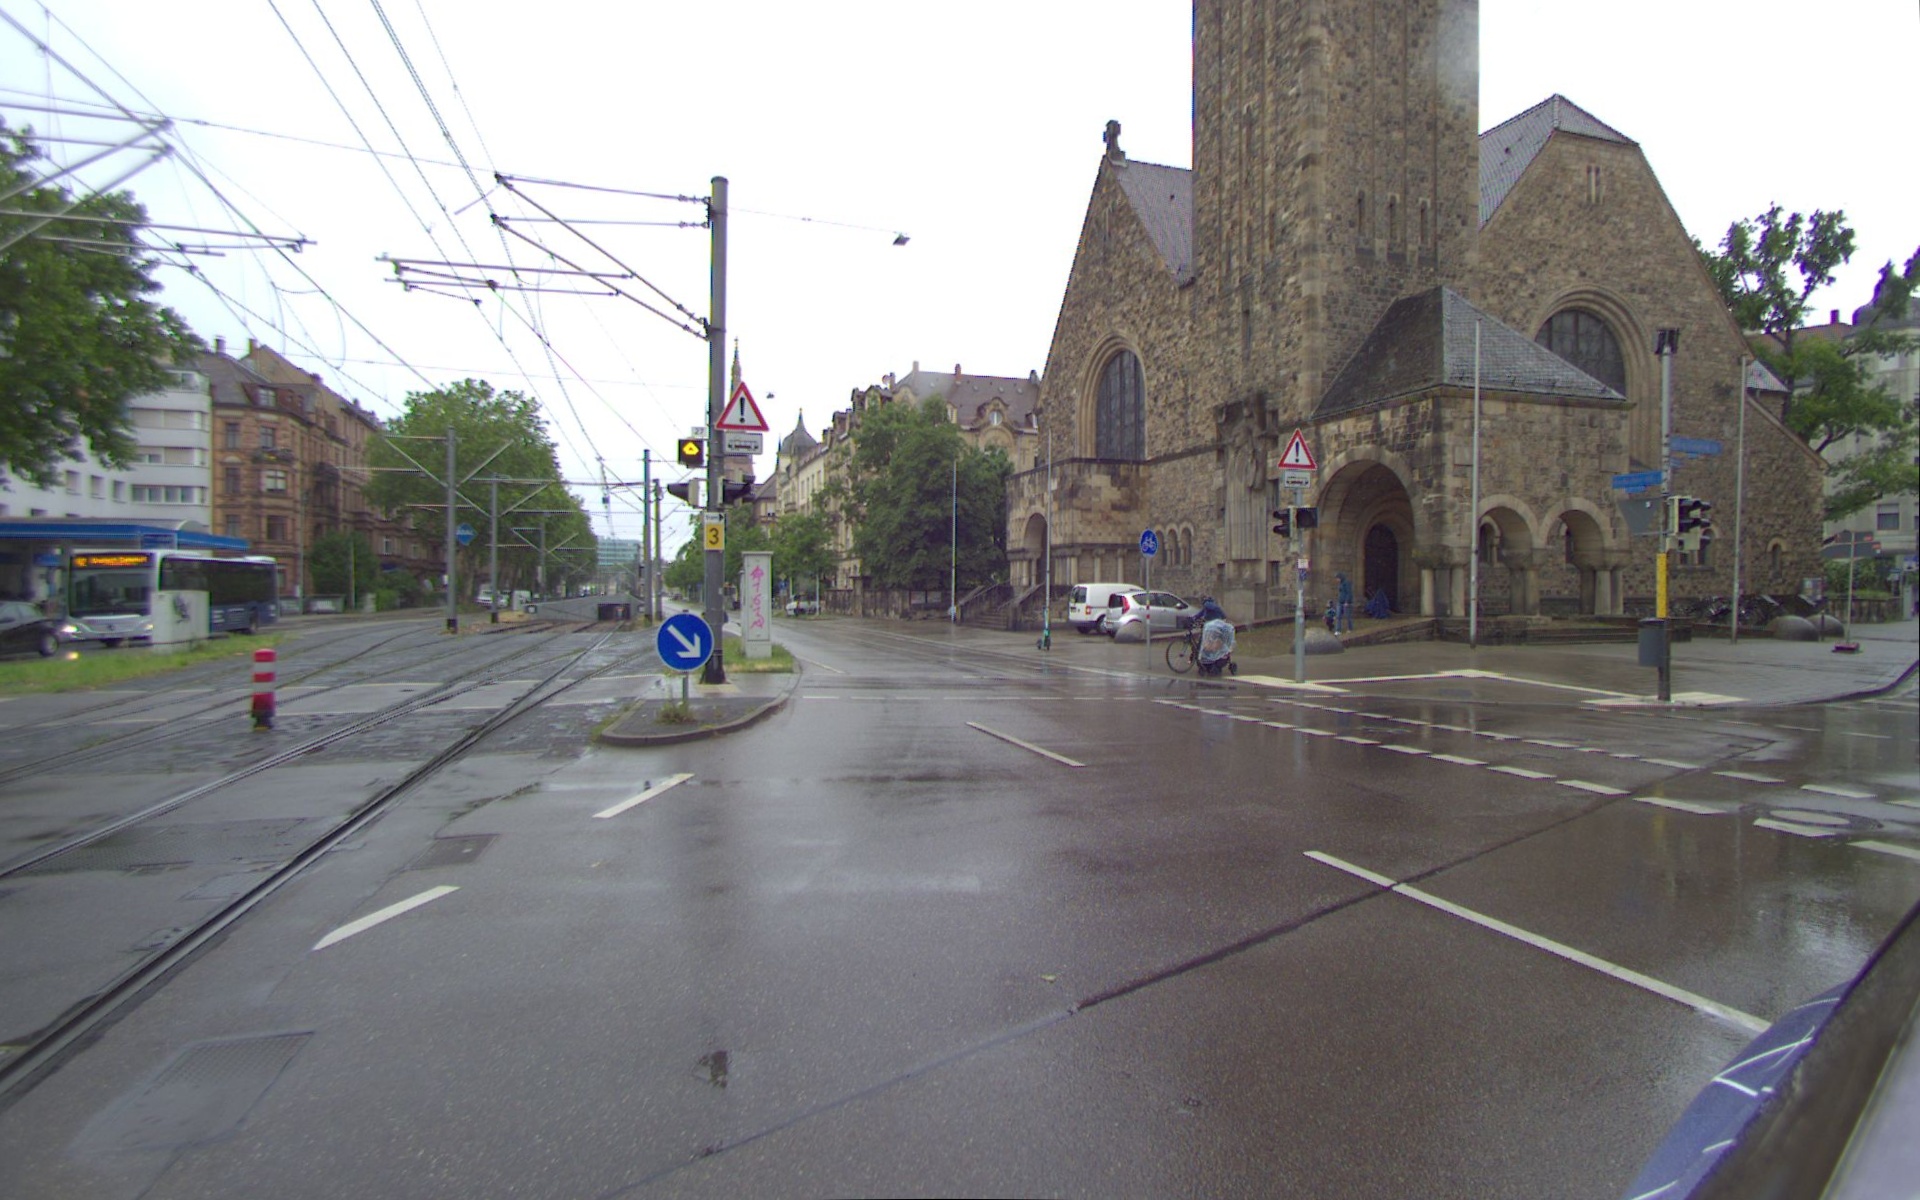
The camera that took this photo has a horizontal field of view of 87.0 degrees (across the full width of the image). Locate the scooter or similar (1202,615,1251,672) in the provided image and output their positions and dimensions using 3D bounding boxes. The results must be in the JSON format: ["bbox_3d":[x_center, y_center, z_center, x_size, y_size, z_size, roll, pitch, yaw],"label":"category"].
[{"bbox_3d":[5.228,0.837,19.864,0.908,1.062,0.514,0,0,-40],"label":"scooter or similar"}]

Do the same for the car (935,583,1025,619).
[{"bbox_3d":[0.976,0.025,49.292,3.916,1.638,2.004,-1,1,-19],"label":"car"}]

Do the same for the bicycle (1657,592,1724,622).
[{"bbox_3d":[27.422,0.244,38.020,0.565,1.062,2.013,0,1,-25],"label":"bicycle"}]

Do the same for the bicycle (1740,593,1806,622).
[{"bbox_3d":[31.463,0.274,39.196,0.593,1.080,1.987,0,1,-20],"label":"bicycle"}]

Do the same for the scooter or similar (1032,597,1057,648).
[{"bbox_3d":[2.384,0.627,28.701,0.280,1.404,1.106,0,0,-20],"label":"scooter or similar"}]

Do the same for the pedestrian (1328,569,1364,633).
[{"bbox_3d":[10.562,0.019,27.684,0.664,1.724,0.635,0,0,-22],"label":"pedestrian"}]

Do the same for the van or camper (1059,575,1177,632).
[{"bbox_3d":[5.763,0.088,36.915,3.849,1.749,1.652,-4,2,-19],"label":"van or camper"}]

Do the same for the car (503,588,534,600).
[{"bbox_3d":[-60.848,-0.829,139.496,3.740,1.644,1.780,0,0,-19],"label":"car"}]

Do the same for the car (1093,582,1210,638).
[{"bbox_3d":[6.338,0.298,33.567,3.289,1.593,1.740,-4,1,-16],"label":"car"}]

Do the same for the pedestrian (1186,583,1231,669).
[{"bbox_3d":[4.974,0.498,20.274,0.677,1.684,0.604,0,0,-40],"label":"pedestrian"}]

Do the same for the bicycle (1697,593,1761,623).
[{"bbox_3d":[29.259,0.290,38.539,0.569,1.074,1.932,0,1,-21],"label":"bicycle"}]

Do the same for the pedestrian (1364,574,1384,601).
[{"bbox_3d":[13.647,-0.414,33.371,0.447,0.895,0.397,0,0,-20],"label":"pedestrian"}]

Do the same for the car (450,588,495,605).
[{"bbox_3d":[-49.448,-0.381,102.681,3.757,1.644,1.771,-1,1,-44],"label":"car"}]

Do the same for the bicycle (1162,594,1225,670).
[{"bbox_3d":[4.829,0.629,20.818,0.530,1.485,1.914,0,0,37],"label":"bicycle"}]

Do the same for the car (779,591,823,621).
[{"bbox_3d":[-10.233,0.331,65.015,1.939,1.816,4.008,-1,1,-22],"label":"car"}]

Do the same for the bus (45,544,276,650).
[{"bbox_3d":[-28.006,-0.153,36.356,2.832,3.152,12.127,0,0,-20],"label":"bus"}]

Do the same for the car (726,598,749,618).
[{"bbox_3d":[-21.717,0.769,98.816,1.744,1.799,4.008,-1,1,-19],"label":"car"}]

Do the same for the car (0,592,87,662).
[{"bbox_3d":[-23.705,0.604,25.060,1.741,1.620,4.187,0,0,-20],"label":"car"}]

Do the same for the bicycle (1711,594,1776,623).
[{"bbox_3d":[29.898,0.309,38.639,0.569,1.074,1.932,0,1,-21],"label":"bicycle"}]

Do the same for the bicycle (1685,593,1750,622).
[{"bbox_3d":[28.634,0.269,38.289,0.569,1.074,1.932,0,1,-24],"label":"bicycle"}]

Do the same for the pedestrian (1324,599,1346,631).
[{"bbox_3d":[10.630,0.415,28.685,0.388,0.895,0.457,0,0,-22],"label":"pedestrian"}]

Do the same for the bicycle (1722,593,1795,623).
[{"bbox_3d":[30.581,0.293,38.819,0.664,1.074,2.160,0,1,-21],"label":"bicycle"}]
